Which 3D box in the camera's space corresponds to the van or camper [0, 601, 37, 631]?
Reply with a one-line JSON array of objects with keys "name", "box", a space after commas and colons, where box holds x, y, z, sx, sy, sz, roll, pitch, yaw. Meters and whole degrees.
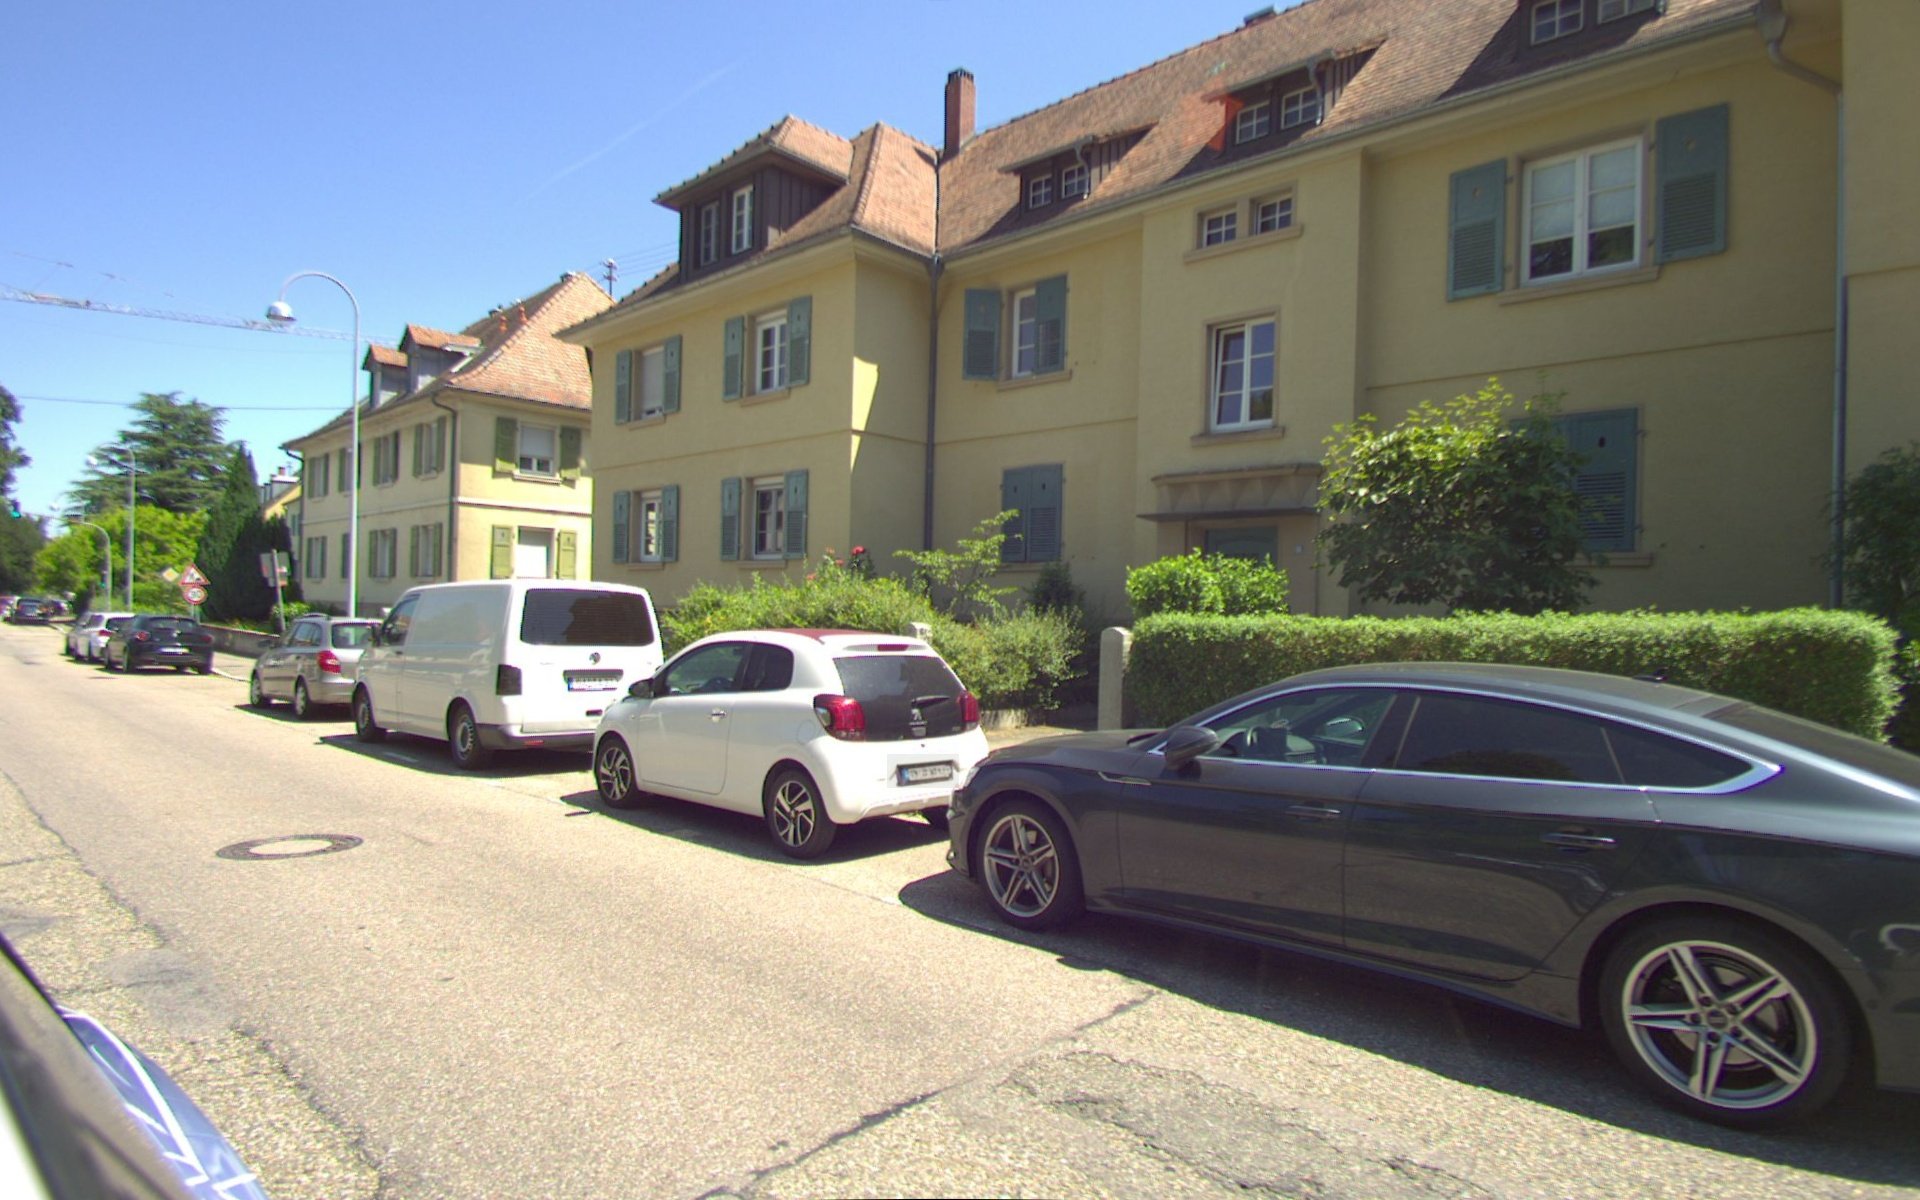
[{"name": "van or camper", "box": [-61.785, 1.015, 66.447, 1.661, 1.818, 3.990, 4, -3, -42]}]

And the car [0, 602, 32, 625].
[{"name": "car", "box": [-65.991, 0.928, 70.605, 1.660, 1.452, 4.254, 4, -3, -41]}]

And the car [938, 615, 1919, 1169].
[{"name": "car", "box": [2.078, 0.838, 4.450, 4.466, 1.504, 1.648, 0, -2, 43]}]

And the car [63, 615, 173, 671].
[{"name": "car", "box": [-24.065, 1.212, 28.886, 4.218, 1.413, 1.775, 0, -3, 42]}]

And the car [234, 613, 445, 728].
[{"name": "car", "box": [-9.724, 1.026, 15.737, 4.062, 1.537, 1.668, 0, -4, 43]}]

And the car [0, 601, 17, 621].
[{"name": "car", "box": [-81.587, 0.901, 86.001, 3.697, 1.578, 1.794, 0, -2, 44]}]

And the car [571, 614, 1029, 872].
[{"name": "car", "box": [-1.351, 0.893, 7.767, 3.478, 1.504, 1.648, 0, -3, 43]}]

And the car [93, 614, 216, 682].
[{"name": "car", "box": [-20.259, 1.176, 25.402, 4.075, 1.496, 1.697, 0, -3, 42]}]

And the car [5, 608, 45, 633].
[{"name": "car", "box": [-58.503, 1.292, 63.306, 1.661, 1.423, 3.929, 4, -3, -44]}]

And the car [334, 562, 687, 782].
[{"name": "car", "box": [-5.198, 0.718, 11.378, 4.625, 1.978, 1.857, 0, -4, 43]}]

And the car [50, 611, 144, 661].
[{"name": "car", "box": [-27.845, 1.143, 32.620, 3.923, 1.458, 1.740, 0, -3, 42]}]
